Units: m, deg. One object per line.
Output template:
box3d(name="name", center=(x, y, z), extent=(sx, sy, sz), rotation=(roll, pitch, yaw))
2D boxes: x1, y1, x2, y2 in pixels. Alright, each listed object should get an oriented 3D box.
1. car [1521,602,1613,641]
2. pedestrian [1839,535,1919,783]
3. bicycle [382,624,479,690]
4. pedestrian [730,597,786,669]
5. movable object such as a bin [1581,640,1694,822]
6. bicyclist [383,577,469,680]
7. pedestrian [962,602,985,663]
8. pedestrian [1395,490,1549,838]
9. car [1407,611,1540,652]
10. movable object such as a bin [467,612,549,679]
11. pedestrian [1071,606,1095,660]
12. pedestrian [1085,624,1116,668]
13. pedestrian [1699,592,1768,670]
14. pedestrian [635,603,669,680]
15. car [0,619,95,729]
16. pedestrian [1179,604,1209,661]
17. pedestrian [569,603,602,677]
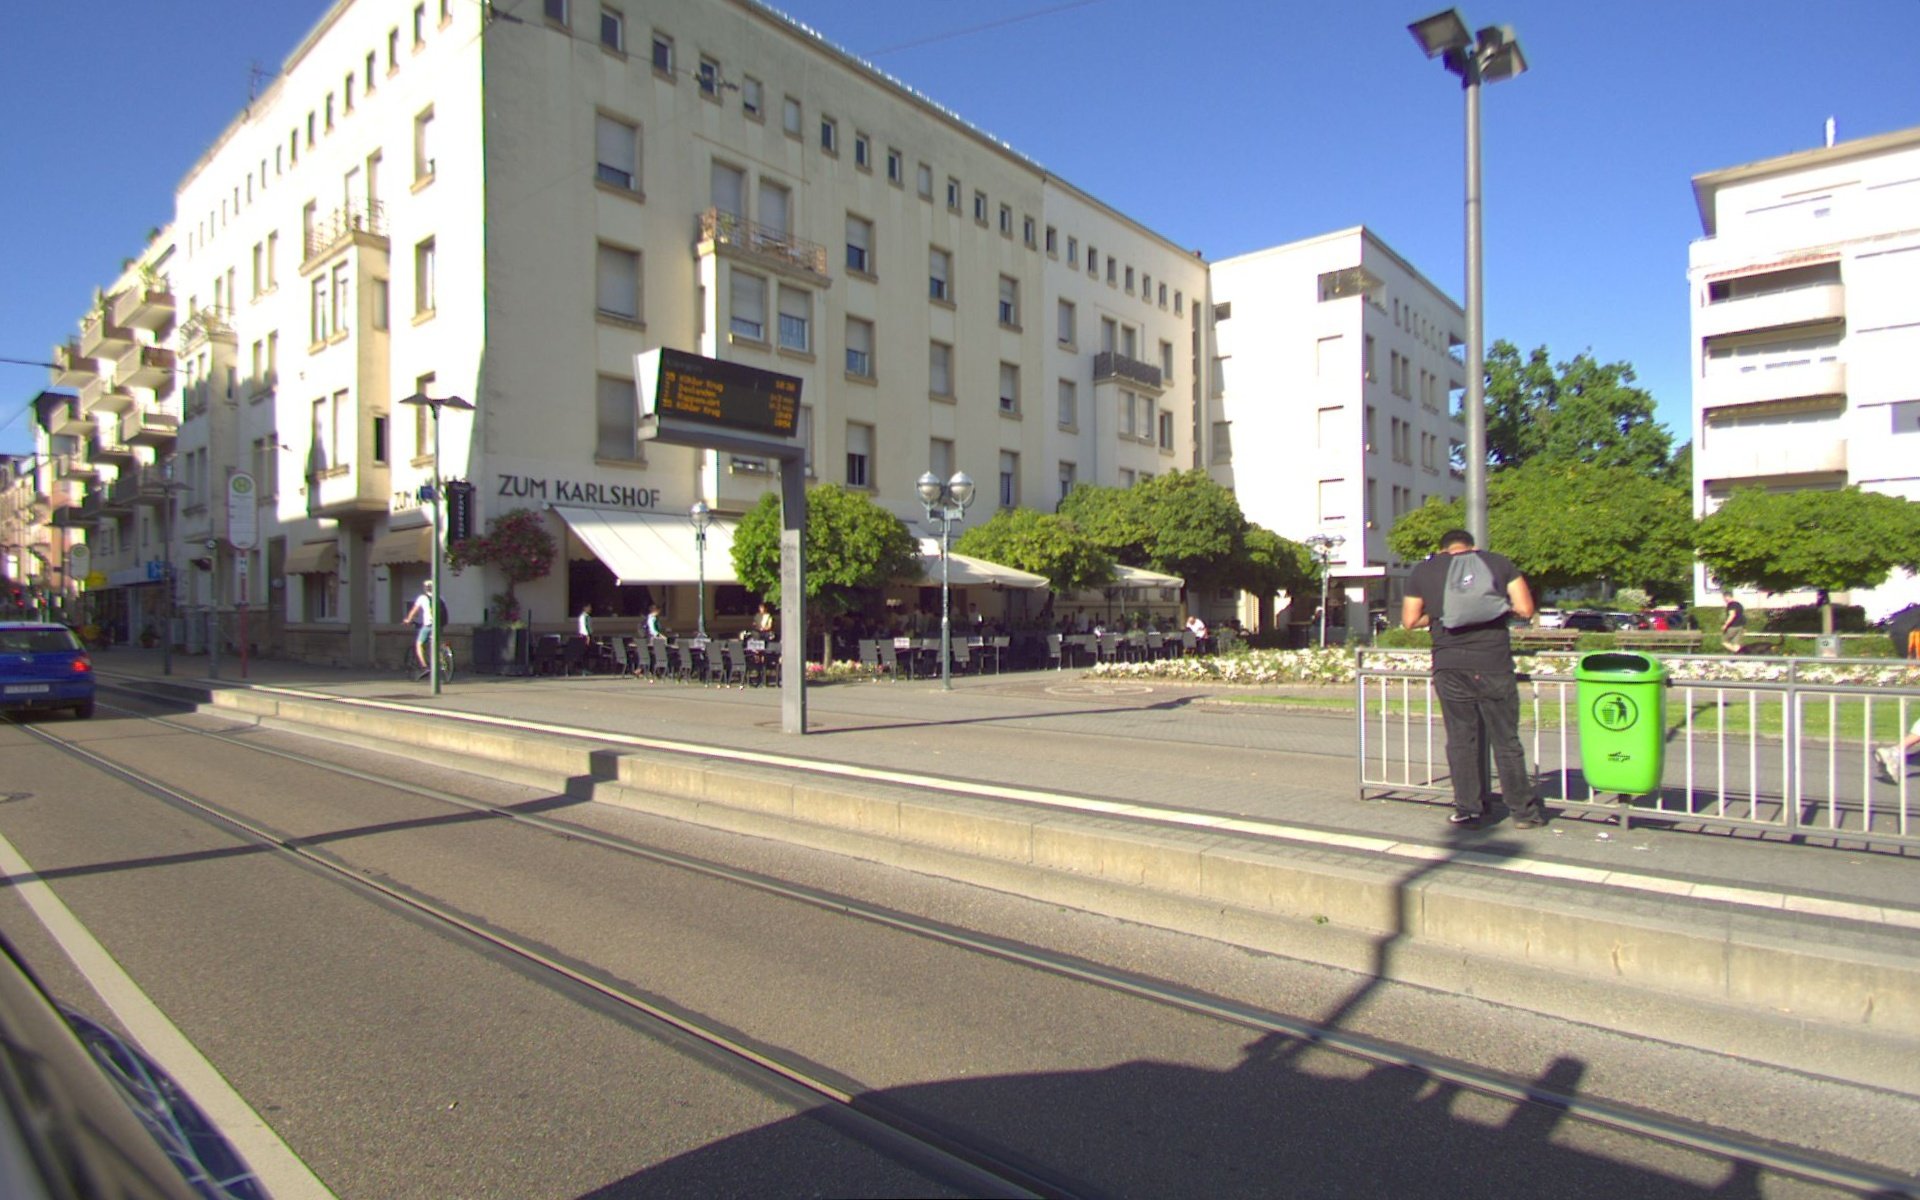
box3d(name="car", center=(24.230, 0.873, 40.440), extent=(2.932, 1.497, 1.399), rotation=(-1, -1, 41))
box3d(name="pedestrian", center=(7.008, 0.408, 7.119), extent=(0.979, 1.693, 0.977), rotation=(2, -3, -33))
box3d(name="bicycle", center=(-9.709, 1.015, 18.544), extent=(2.030, 1.134, 0.706), rotation=(-1, -1, 34))
box3d(name="pedestrian", center=(-4.818, 0.803, 24.195), extent=(0.755, 1.657, 1.054), rotation=(-5, -5, 36))
box3d(name="movable object such as a bin", center=(3.443, 0.641, 5.144), extent=(0.416, 0.866, 0.332), rotation=(-2, -1, 44))
box3d(name="bicyclist", center=(-9.788, 0.510, 18.544), extent=(1.092, 1.807, 0.996), rotation=(-1, -1, 33))
box3d(name="pedestrian", center=(0.418, 0.977, 30.654), extent=(0.641, 1.837, 0.576), rotation=(-1, -1, 5))
box3d(name="pedestrian", center=(2.751, 0.327, 5.446), extent=(0.607, 1.731, 0.542), rotation=(-1, -3, 43))
box3d(name="car", center=(17.620, 1.069, 34.789), extent=(3.713, 1.310, 1.973), rotation=(-1, -1, 41))
box3d(name="movable object such as a bin", center=(-9.988, 0.978, 22.370), extent=(1.127, 1.410, 1.302), rotation=(-1, -1, 40))
box3d(name="pedestrian", center=(4.070, 1.107, 33.484), extent=(0.677, 1.750, 0.671), rotation=(-3, -4, 14))
box3d(name="pedestrian", center=(4.258, 1.396, 30.689), extent=(0.672, 1.280, 0.636), rotation=(-5, -5, 36))
box3d(name="pedestrian", center=(18.638, 0.736, 24.389), extent=(1.065, 1.801, 1.177), rotation=(0, -1, -45))
box3d(name="pedestrian", center=(-6.853, 0.925, 22.519), extent=(0.662, 1.657, 0.678), rotation=(-1, -4, -13))
box3d(name="car", center=(-14.754, 1.077, 15.509), extent=(3.997, 1.499, 1.650), rotation=(-1, 0, 40))
box3d(name="pedestrian", center=(7.388, 1.044, 32.018), extent=(0.710, 1.750, 0.673), rotation=(-2, -4, 1))
box3d(name="pedestrian", center=(-8.503, 0.917, 22.990), extent=(0.662, 1.657, 0.753), rotation=(0, -4, -22))
